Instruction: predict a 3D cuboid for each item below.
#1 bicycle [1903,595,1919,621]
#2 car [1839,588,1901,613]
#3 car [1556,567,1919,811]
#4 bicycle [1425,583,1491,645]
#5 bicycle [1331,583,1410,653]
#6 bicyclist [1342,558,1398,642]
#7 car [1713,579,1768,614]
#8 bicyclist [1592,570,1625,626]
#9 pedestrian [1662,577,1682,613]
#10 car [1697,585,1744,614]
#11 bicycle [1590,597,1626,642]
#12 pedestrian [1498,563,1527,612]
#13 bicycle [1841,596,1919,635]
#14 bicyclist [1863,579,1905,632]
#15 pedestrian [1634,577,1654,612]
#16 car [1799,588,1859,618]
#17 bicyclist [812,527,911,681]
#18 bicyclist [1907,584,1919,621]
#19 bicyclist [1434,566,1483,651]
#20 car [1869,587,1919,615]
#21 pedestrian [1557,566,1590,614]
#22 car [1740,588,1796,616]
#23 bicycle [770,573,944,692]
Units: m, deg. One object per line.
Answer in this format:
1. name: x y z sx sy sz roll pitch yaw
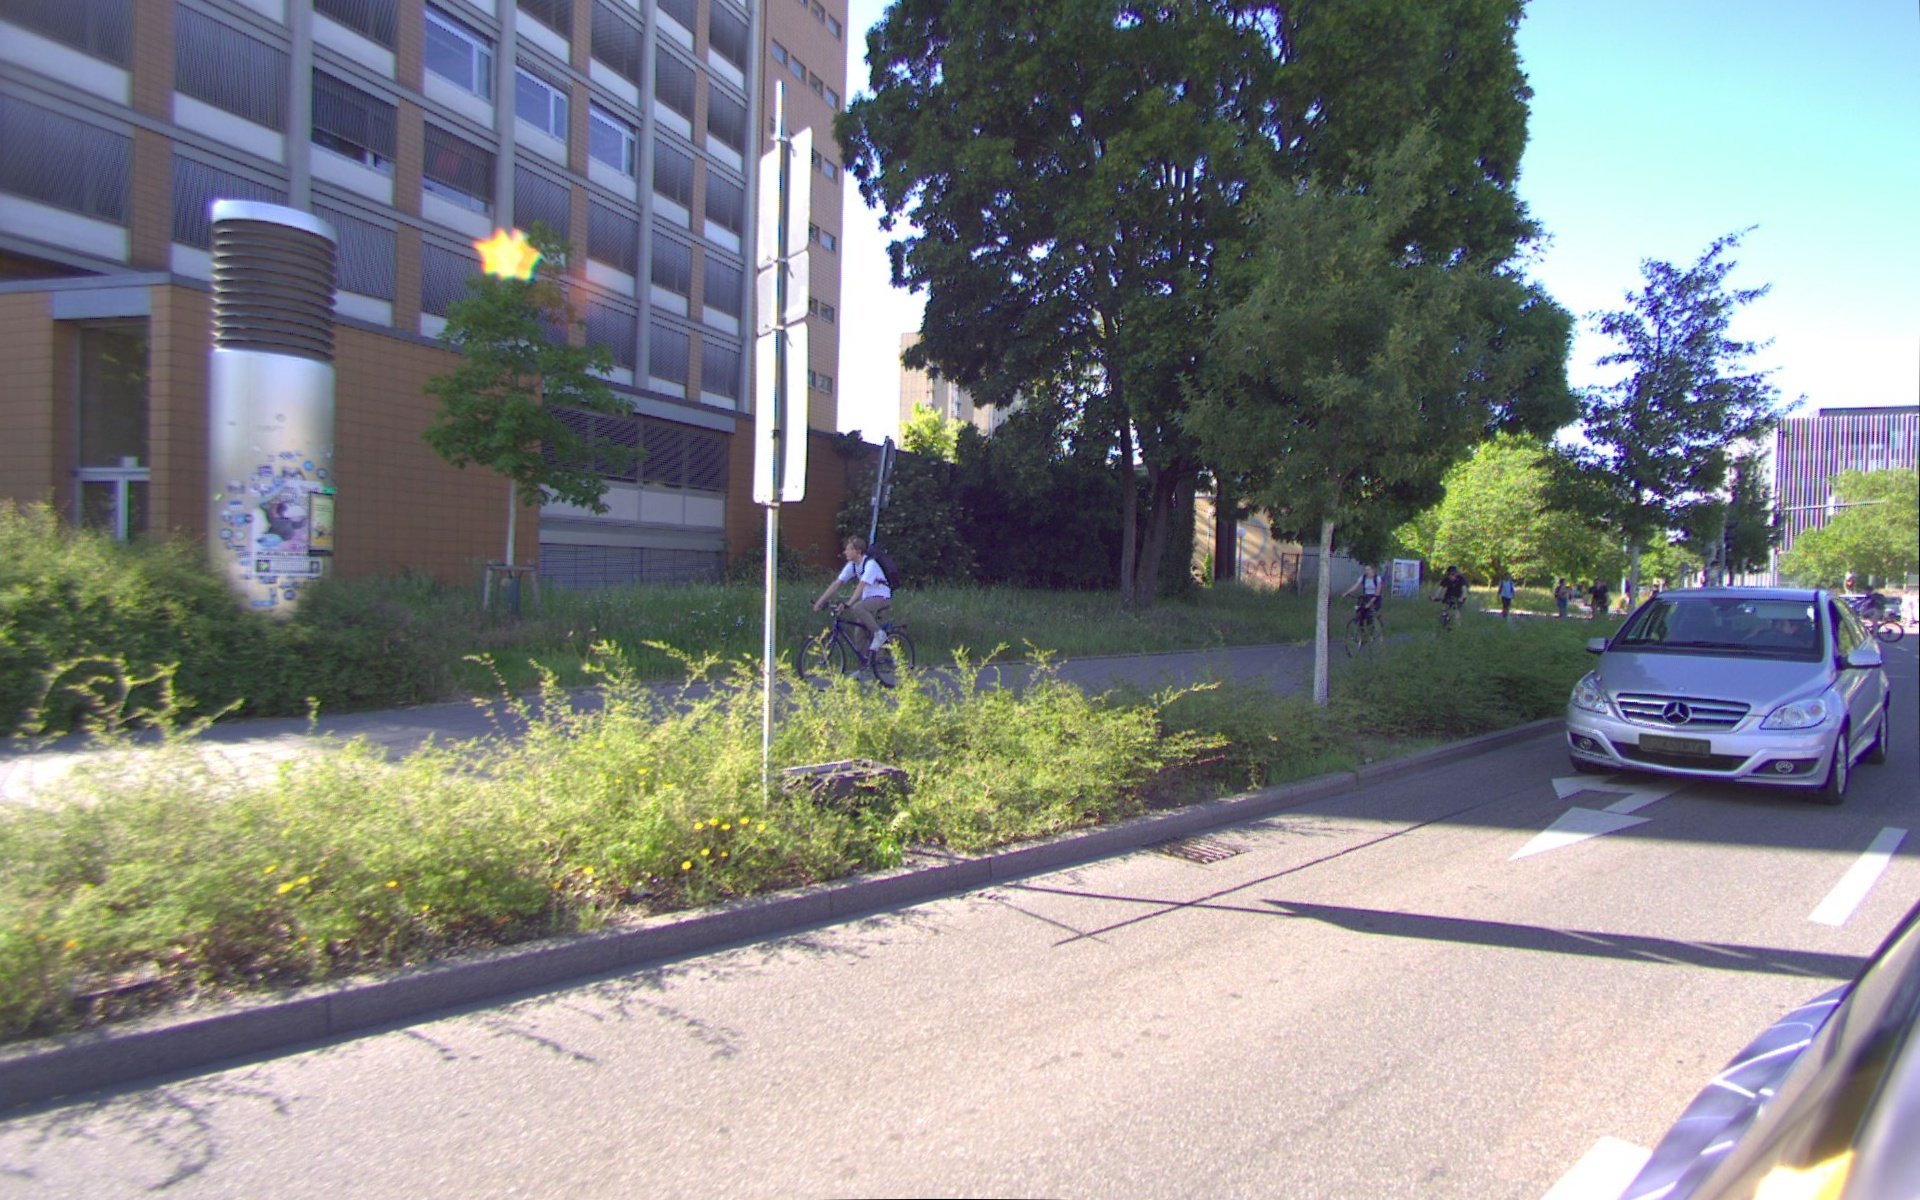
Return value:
1. bicycle: 46.081 0.387 48.509 0.741 1.179 1.853 2 3 28
2. car: 58.382 0.016 65.044 1.967 1.574 4.675 1 1 29
3. car: 7.081 0.573 9.009 4.559 1.613 1.769 0 2 -43
4. bicycle: 10.090 0.274 20.489 0.641 1.179 1.840 3 2 44
5. bicycle: 7.517 0.304 18.498 0.641 1.179 1.841 5 4 44
6. bicyclist: 7.463 -0.011 18.410 0.641 1.462 0.764 5 3 44
7. car: 46.332 -0.216 60.163 1.922 1.977 4.708 1 1 29
8. bicyclist: 17.509 -0.057 27.328 0.640 1.462 0.940 1 1 38
9. pedestrian: 36.518 -0.261 51.906 0.729 1.839 0.724 2 -1 43
10. car: 50.392 -0.059 67.146 1.922 1.822 4.315 1 1 29
11. bicycle: 17.551 0.508 27.386 0.640 1.180 1.844 1 1 38
12. pedestrian: 19.371 -0.427 35.486 0.667 1.664 0.733 2 -1 11
13. bicycle: 30.308 0.512 33.184 1.948 1.179 0.772 3 1 26
14. bicyclist: 30.297 0.177 33.188 0.769 1.684 0.778 2 0 26
15. pedestrian: 35.648 -0.280 52.750 0.729 1.804 0.724 2 -1 43
16. car: 46.952 0.117 54.753 1.987 1.487 3.951 2 2 34
17. bicyclist: -1.093 0.025 11.251 0.630 1.614 0.819 6 4 44
18. bicyclist: 46.033 0.121 48.420 0.739 1.705 0.968 2 3 28
19. bicyclist: 10.080 0.160 20.447 0.641 1.665 0.764 3 1 44
20. car: 54.625 0.038 58.615 1.967 1.574 4.675 1 1 29
21. pedestrian: 21.759 -0.364 35.916 0.665 1.664 0.735 2 -1 1
22. car: 43.199 0.093 54.166 1.690 1.460 3.958 1 1 29
23. bicycle: -1.109 0.325 11.283 0.641 1.179 1.926 6 4 43
